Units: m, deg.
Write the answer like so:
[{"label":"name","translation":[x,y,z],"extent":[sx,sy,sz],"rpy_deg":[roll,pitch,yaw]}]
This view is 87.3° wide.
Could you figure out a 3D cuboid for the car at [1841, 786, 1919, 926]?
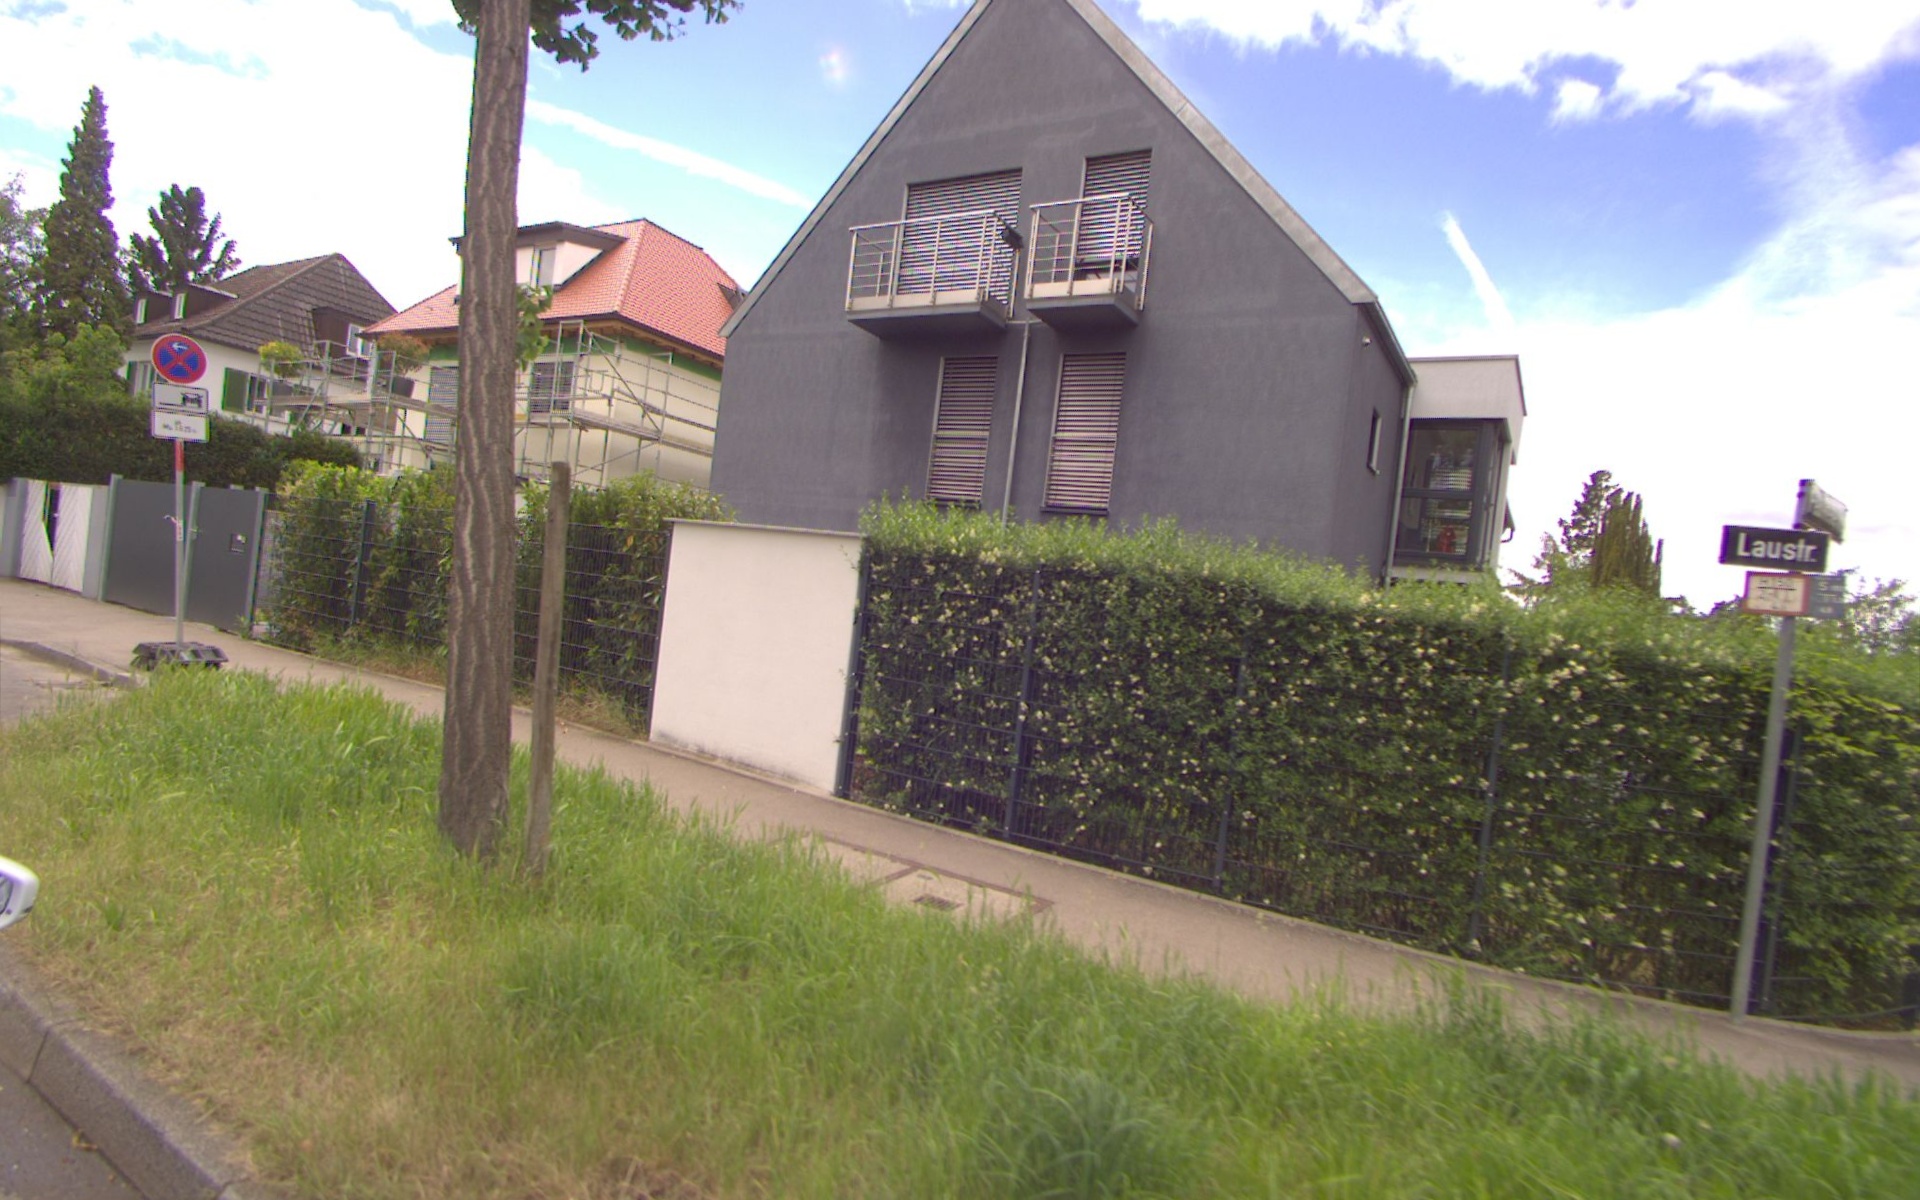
[{"label":"car","translation":[13.190,3.413,12.952],"extent":[1.967,1.474,3.996],"rpy_deg":[7,-3,31]}]
